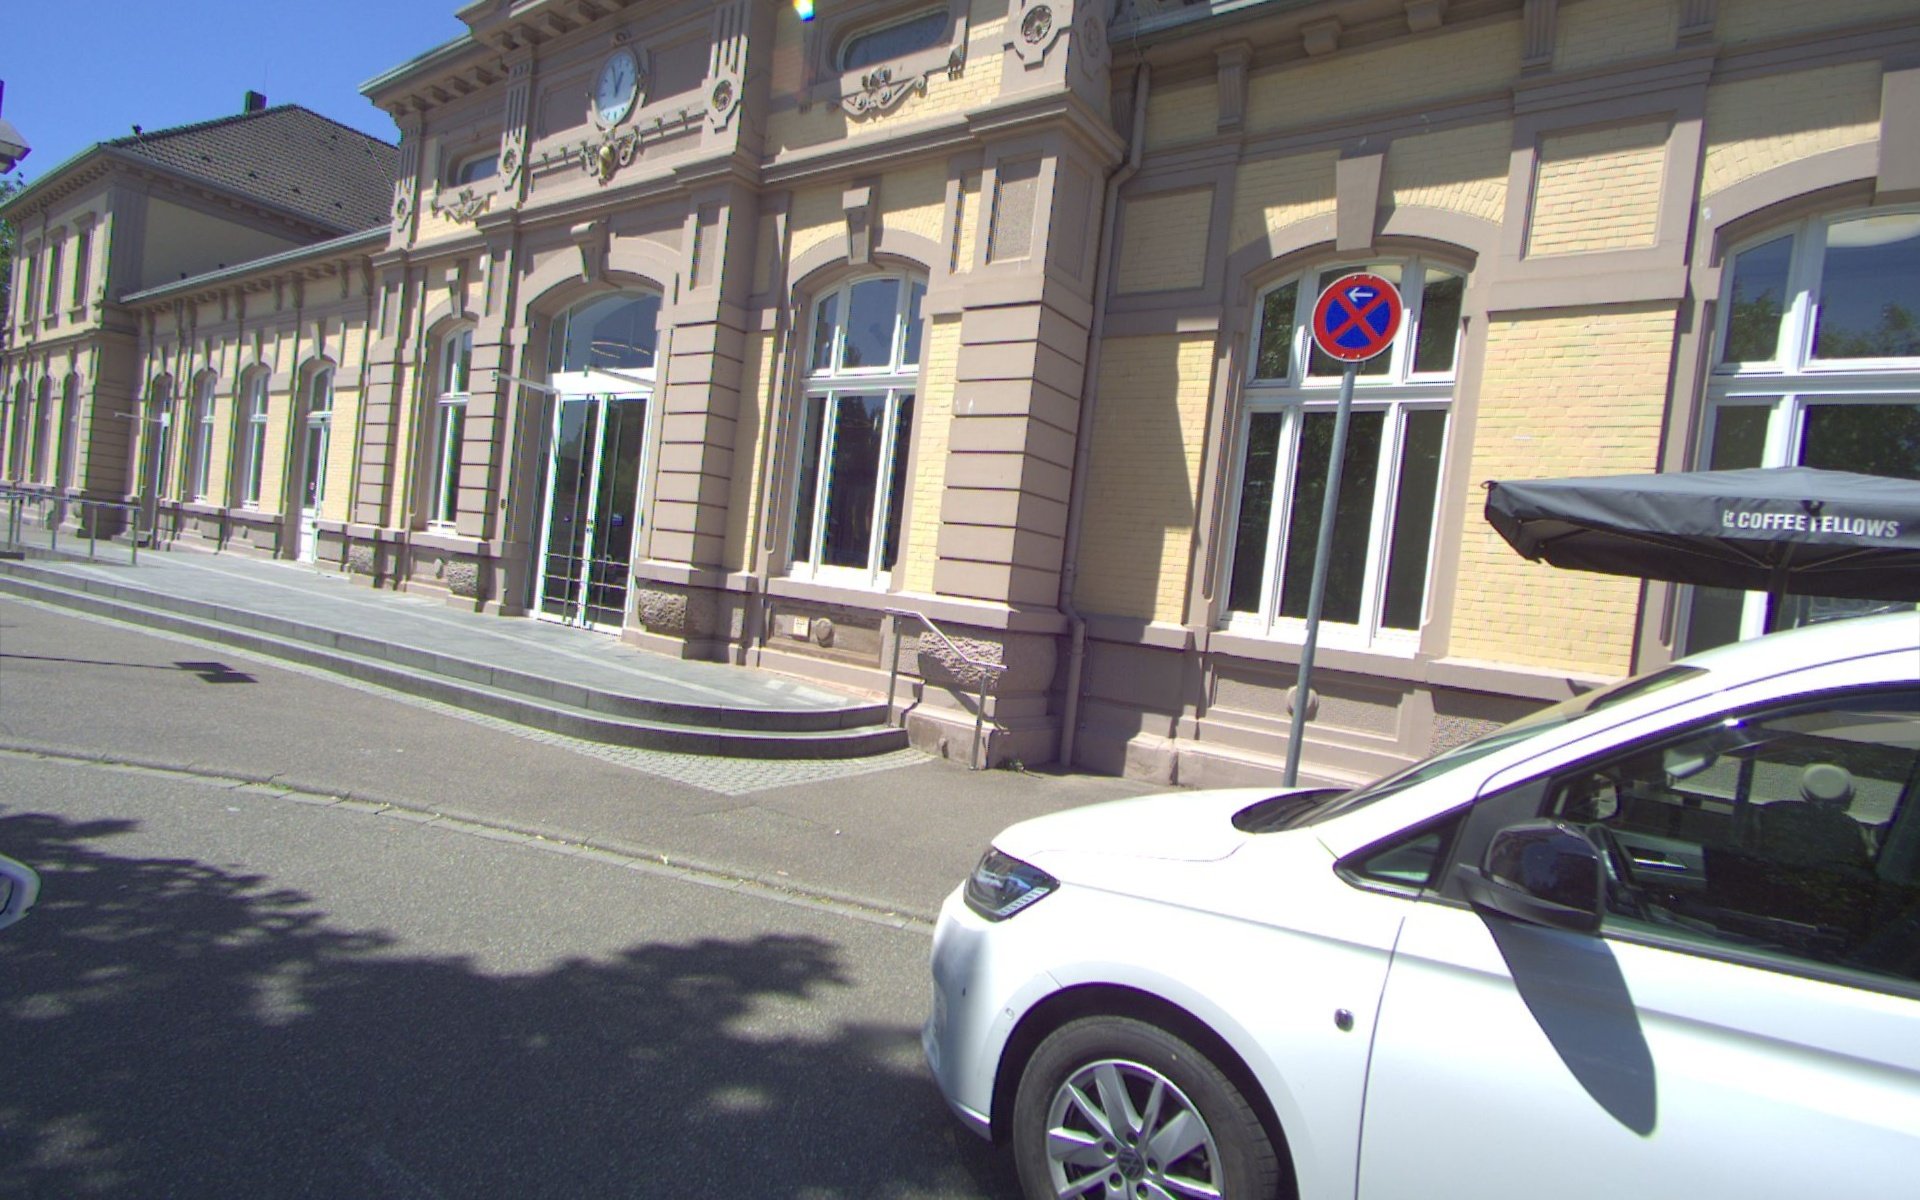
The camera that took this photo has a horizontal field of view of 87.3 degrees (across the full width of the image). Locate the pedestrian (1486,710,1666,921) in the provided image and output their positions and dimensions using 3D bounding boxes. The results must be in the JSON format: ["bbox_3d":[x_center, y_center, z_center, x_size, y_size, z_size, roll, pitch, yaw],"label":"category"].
[{"bbox_3d":[4.044,1.362,6.633,0.838,1.094,0.879,7,3,33],"label":"pedestrian"}]

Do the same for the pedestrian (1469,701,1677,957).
[{"bbox_3d":[3.541,1.260,5.843,0.838,1.177,0.879,7,3,32],"label":"pedestrian"}]

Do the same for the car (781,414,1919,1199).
[{"bbox_3d":[2.202,0.808,1.981,5.056,1.889,1.810,8,1,35],"label":"car"}]
